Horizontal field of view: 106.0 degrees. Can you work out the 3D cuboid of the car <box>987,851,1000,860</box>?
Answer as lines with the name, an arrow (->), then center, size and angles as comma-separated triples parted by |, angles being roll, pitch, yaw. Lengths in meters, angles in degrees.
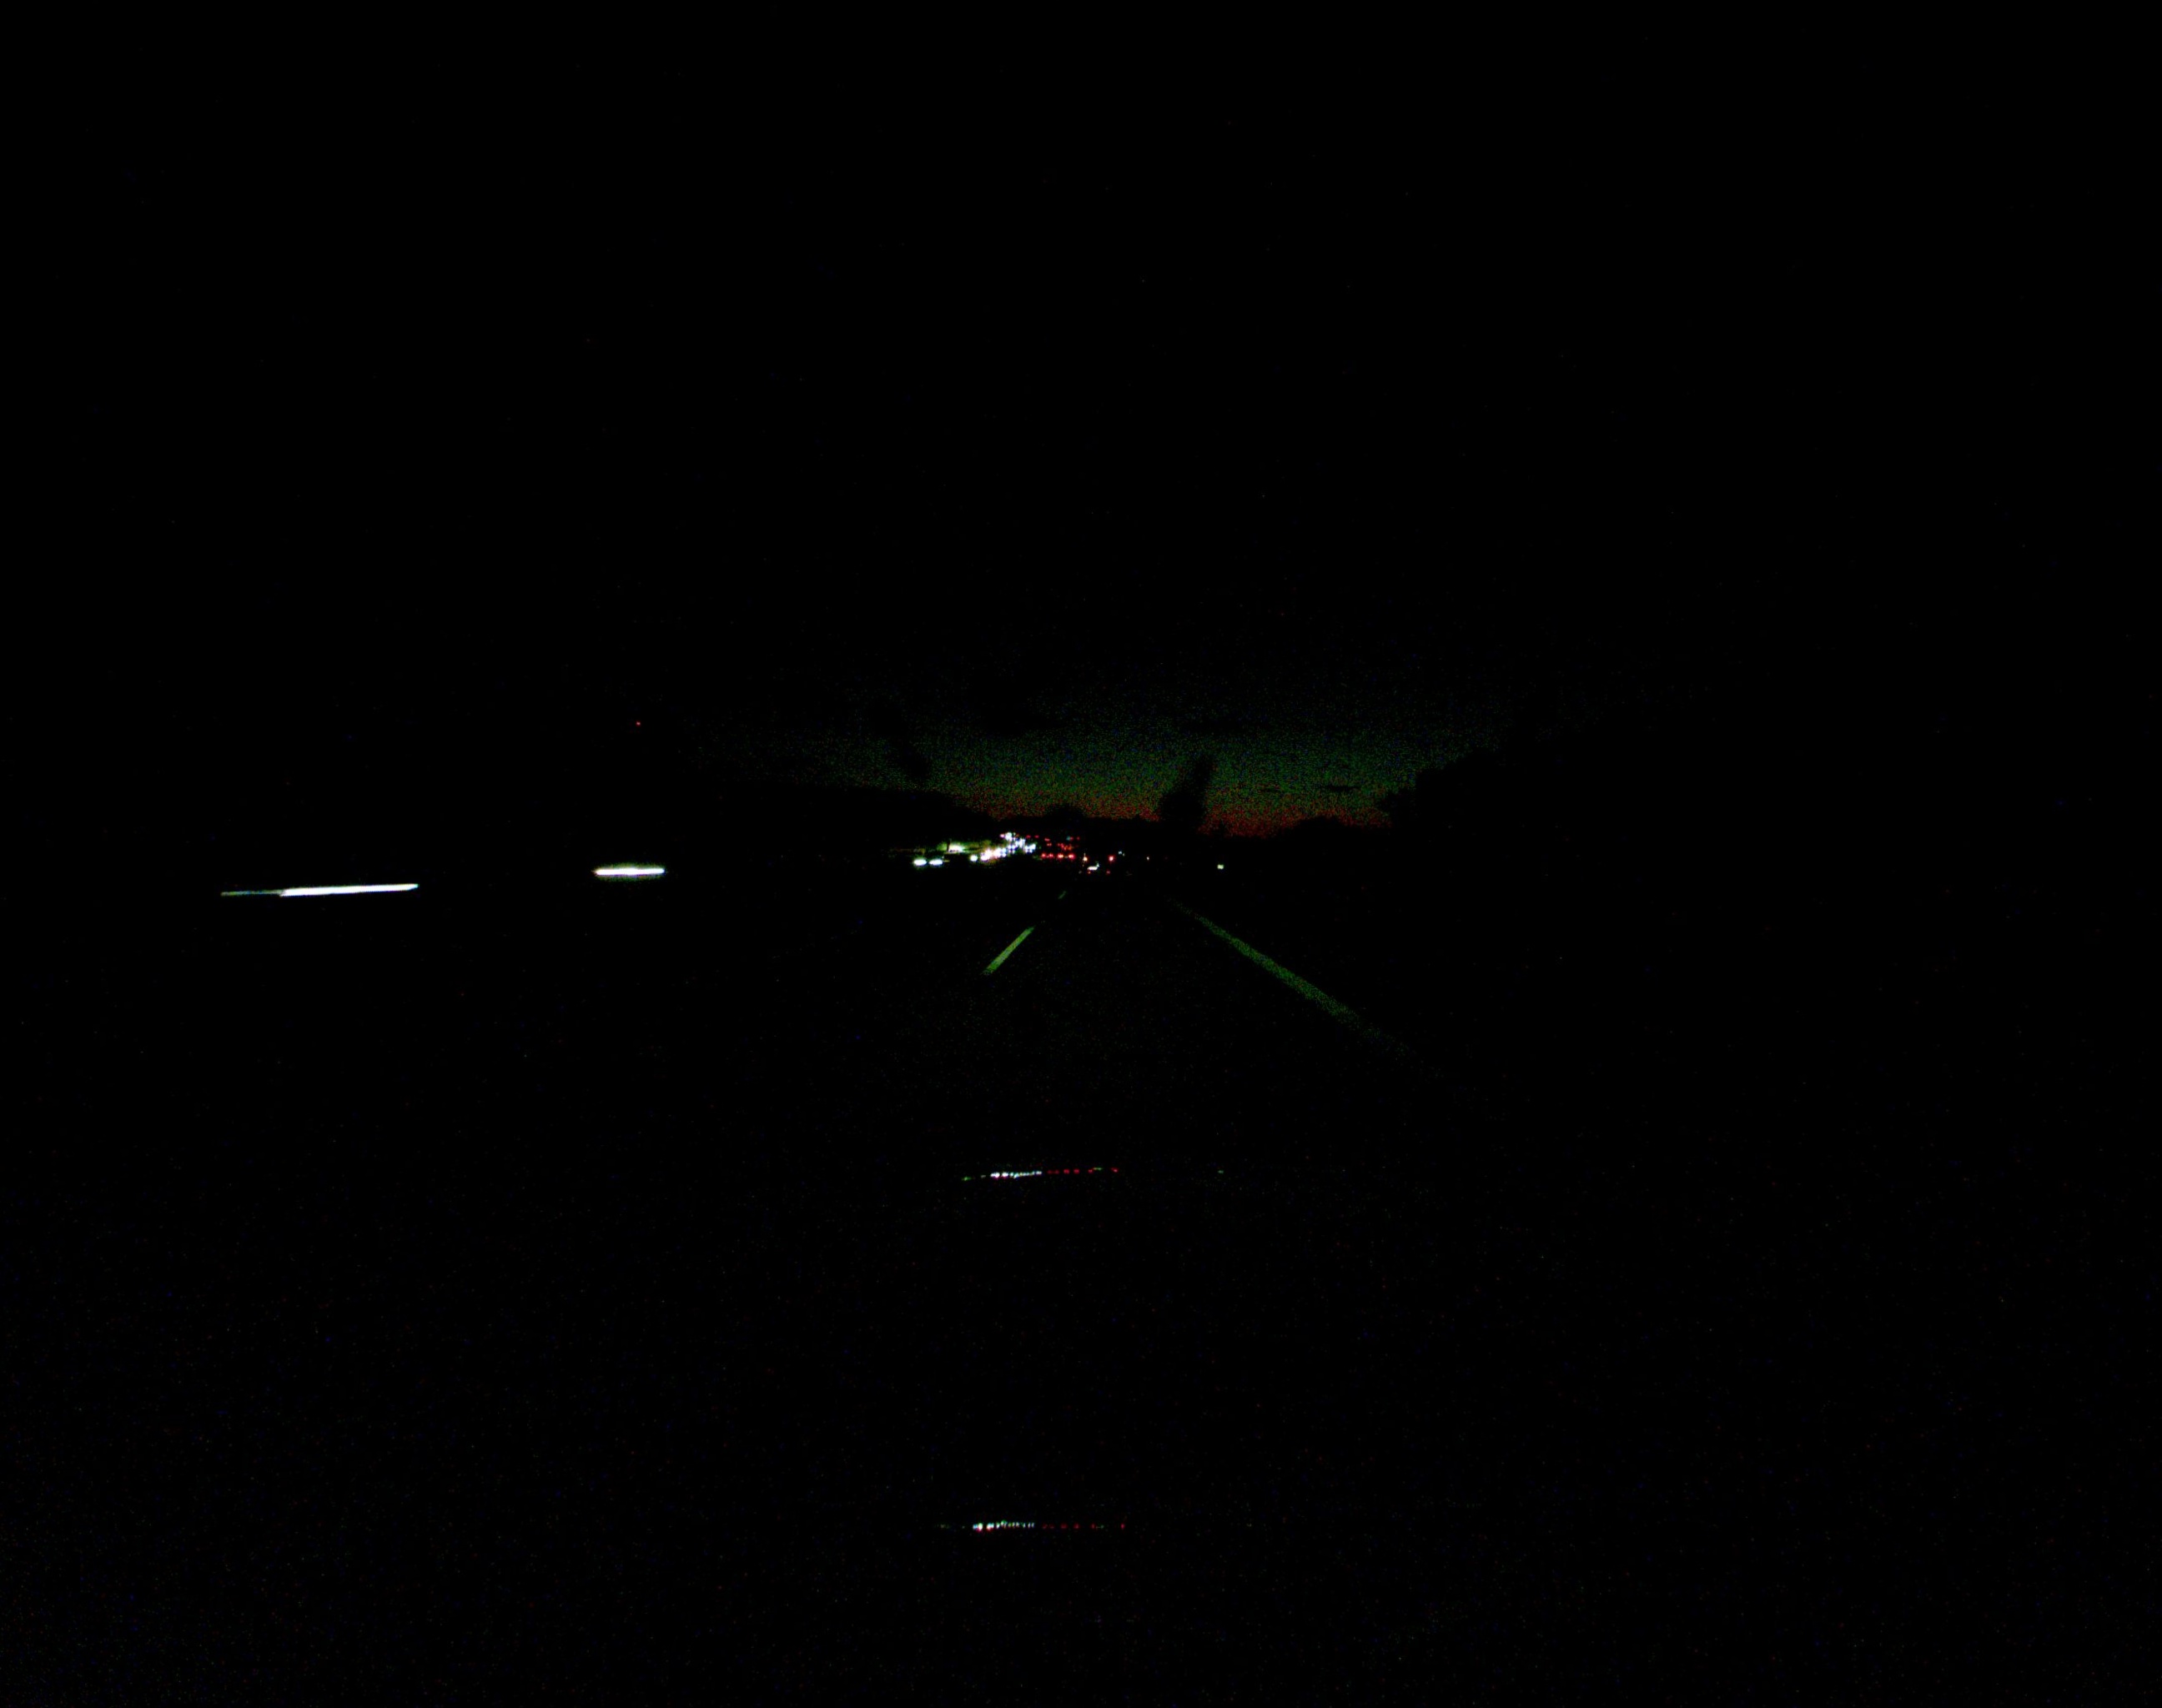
car -> -17.847, 0.323, 166.305 | 2.096, 1.789, 4.653 | 0, -1, 2

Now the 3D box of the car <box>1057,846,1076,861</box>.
car -> -1.781, -0.011, 101.943 | 1.985, 1.721, 5.947 | -1, -1, 3

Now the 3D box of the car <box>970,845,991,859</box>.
car -> -13.405, -0.308, 108.646 | 2.096, 1.789, 4.871 | 0, 0, 2

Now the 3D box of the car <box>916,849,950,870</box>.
car -> -13.135, 0.511, 72.357 | 2.096, 1.789, 4.321 | 0, -1, 2

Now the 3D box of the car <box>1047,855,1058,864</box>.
car -> -4.775, 0.879, 135.467 | 1.544, 1.431, 5.515 | -1, -1, 1

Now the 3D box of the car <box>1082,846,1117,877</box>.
car -> 1.161, 0.466, 53.537 | 2.189, 1.955, 4.763 | -1, 0, 0

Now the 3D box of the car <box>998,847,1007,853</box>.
car -> -22.193, -1.085, 231.606 | 2.098, 1.789, 4.650 | 0, -1, 0

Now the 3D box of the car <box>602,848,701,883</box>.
car -> -21.965, 0.601, 41.960 | 2.096, 1.688, 5.388 | 0, -1, 2

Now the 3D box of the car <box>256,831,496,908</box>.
car -> -18.129, 0.394, 21.336 | 2.096, 1.789, 4.661 | 0, -1, 2
